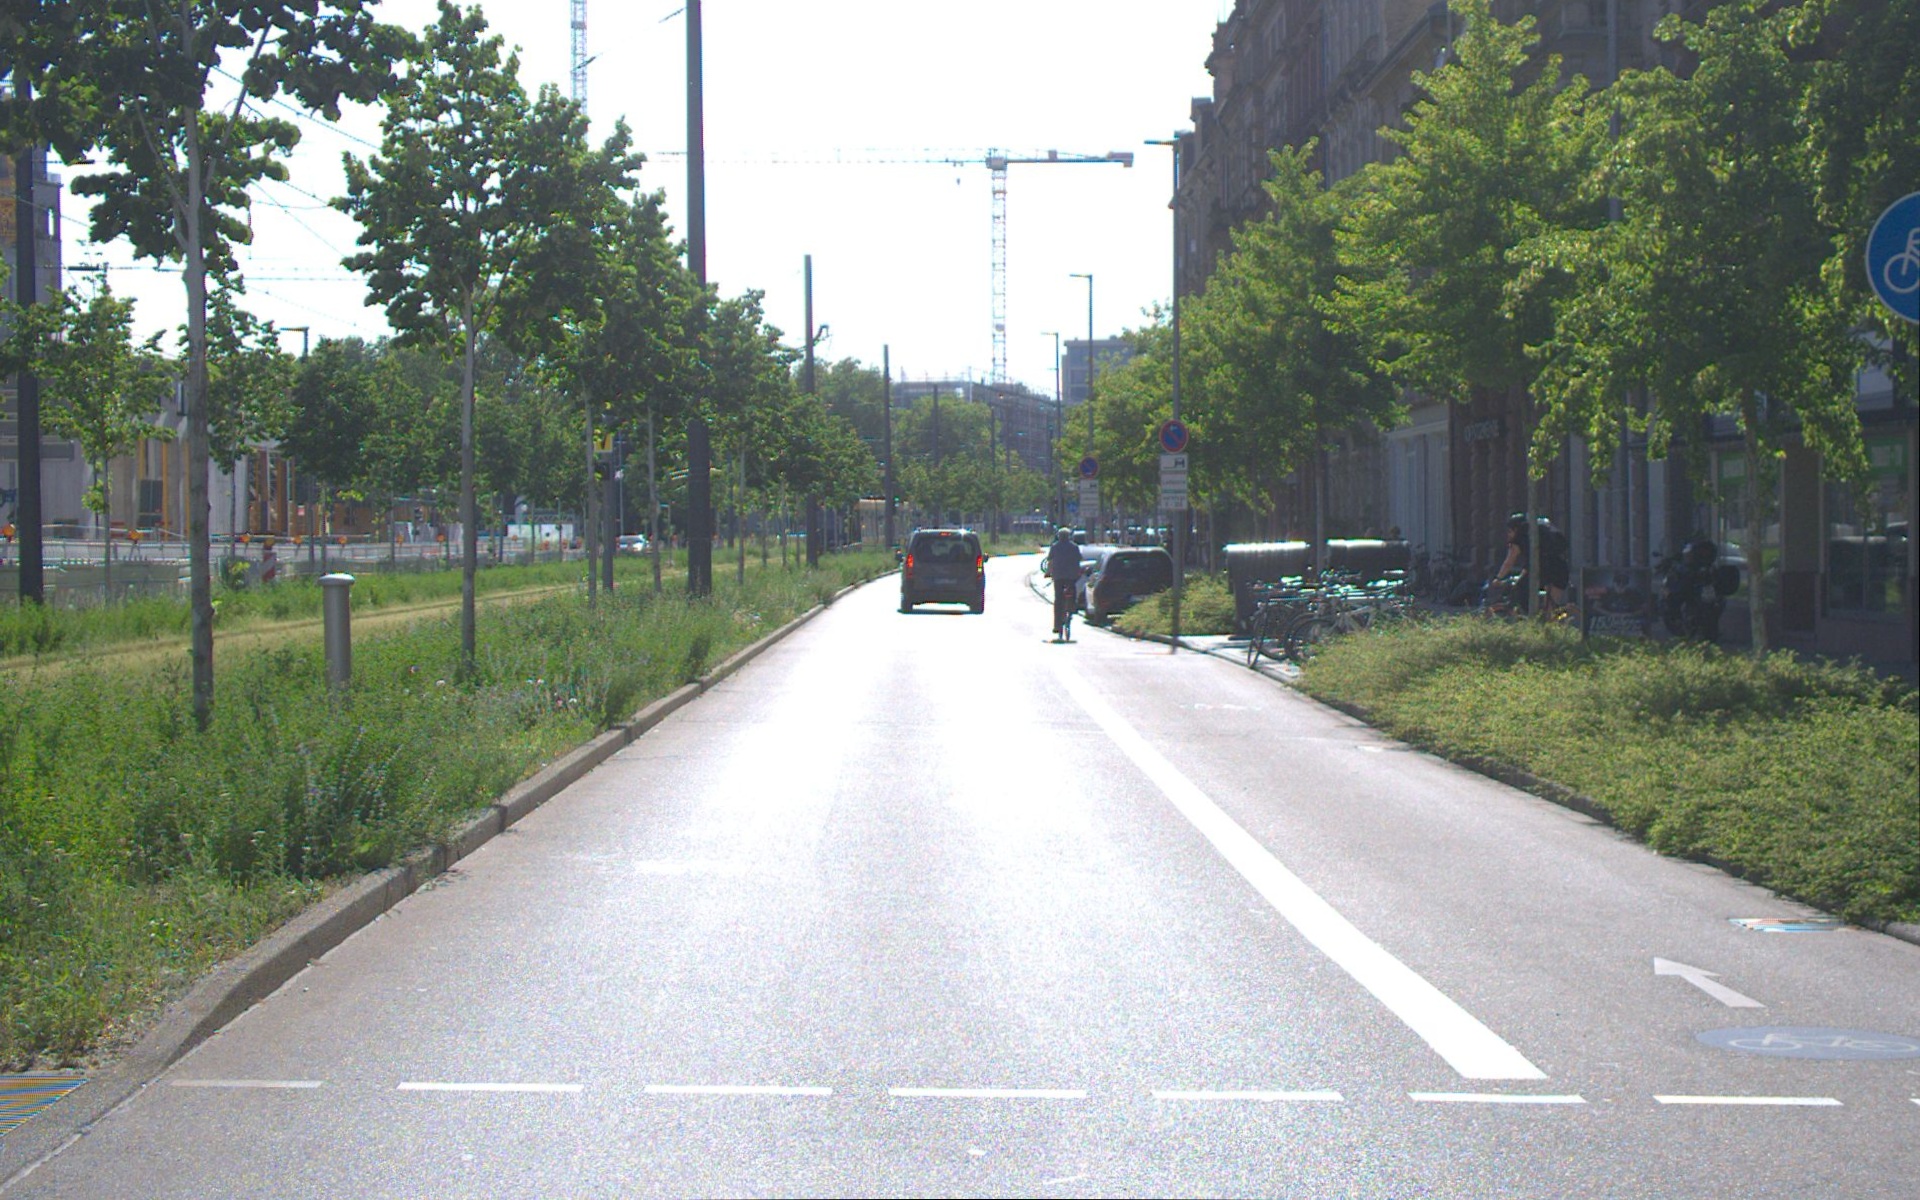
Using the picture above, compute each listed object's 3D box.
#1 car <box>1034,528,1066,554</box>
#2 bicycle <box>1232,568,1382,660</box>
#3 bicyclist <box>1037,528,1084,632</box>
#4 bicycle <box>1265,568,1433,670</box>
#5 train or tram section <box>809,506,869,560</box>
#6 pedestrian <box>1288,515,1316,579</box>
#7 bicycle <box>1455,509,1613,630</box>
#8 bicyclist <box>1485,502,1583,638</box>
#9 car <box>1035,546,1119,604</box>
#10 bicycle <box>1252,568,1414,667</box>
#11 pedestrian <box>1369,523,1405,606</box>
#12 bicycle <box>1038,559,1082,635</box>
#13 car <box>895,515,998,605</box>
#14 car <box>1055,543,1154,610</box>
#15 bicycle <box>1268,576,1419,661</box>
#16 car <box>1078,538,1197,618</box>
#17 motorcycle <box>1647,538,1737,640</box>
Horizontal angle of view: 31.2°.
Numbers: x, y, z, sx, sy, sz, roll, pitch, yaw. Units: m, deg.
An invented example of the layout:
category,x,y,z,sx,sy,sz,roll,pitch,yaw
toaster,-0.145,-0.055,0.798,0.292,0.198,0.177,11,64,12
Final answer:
category,x,y,z,sx,sy,sz,roll,pitch,yaw
car,6.149,-4.013,234.925,1.993,1.723,4.000,1,0,-1
bicycle,4.432,0.180,43.947,1.792,1.027,0.527,-5,1,0
bicyclist,1.643,-0.334,56.177,0.684,1.667,0.922,2,1,-1
bicycle,4.477,0.218,39.612,1.792,1.027,0.527,-5,1,0
train or tram section,-6.360,-3.509,182.239,2.756,2.733,9.864,1,0,0
pedestrian,8.694,-1.344,87.390,0.614,1.606,0.669,-1,1,-1
bicycle,6.733,-0.343,40.411,0.615,1.326,1.900,-5,1,-33
bicyclist,6.740,-0.348,40.380,0.660,1.525,0.800,-5,1,-33
car,3.119,-0.697,92.305,2.028,1.493,4.530,-1,1,-1
bicycle,4.455,0.203,41.108,1.792,1.027,0.527,-5,1,0
pedestrian,8.385,-0.698,67.515,0.614,1.606,0.669,-1,1,-1
bicycle,1.624,-0.062,55.968,0.601,1.177,1.869,2,1,-1
car,-0.322,-0.910,76.344,2.200,1.919,4.654,-1,1,-1
car,3.328,-0.566,79.776,2.028,1.493,4.530,-1,1,-1
bicycle,4.734,0.227,42.507,1.792,1.027,0.527,-1,1,0
car,3.444,-0.450,67.454,2.028,1.493,4.654,-1,1,-1
motorcycle,9.390,-0.160,44.160,0.700,1.263,1.982,-1,1,-1
